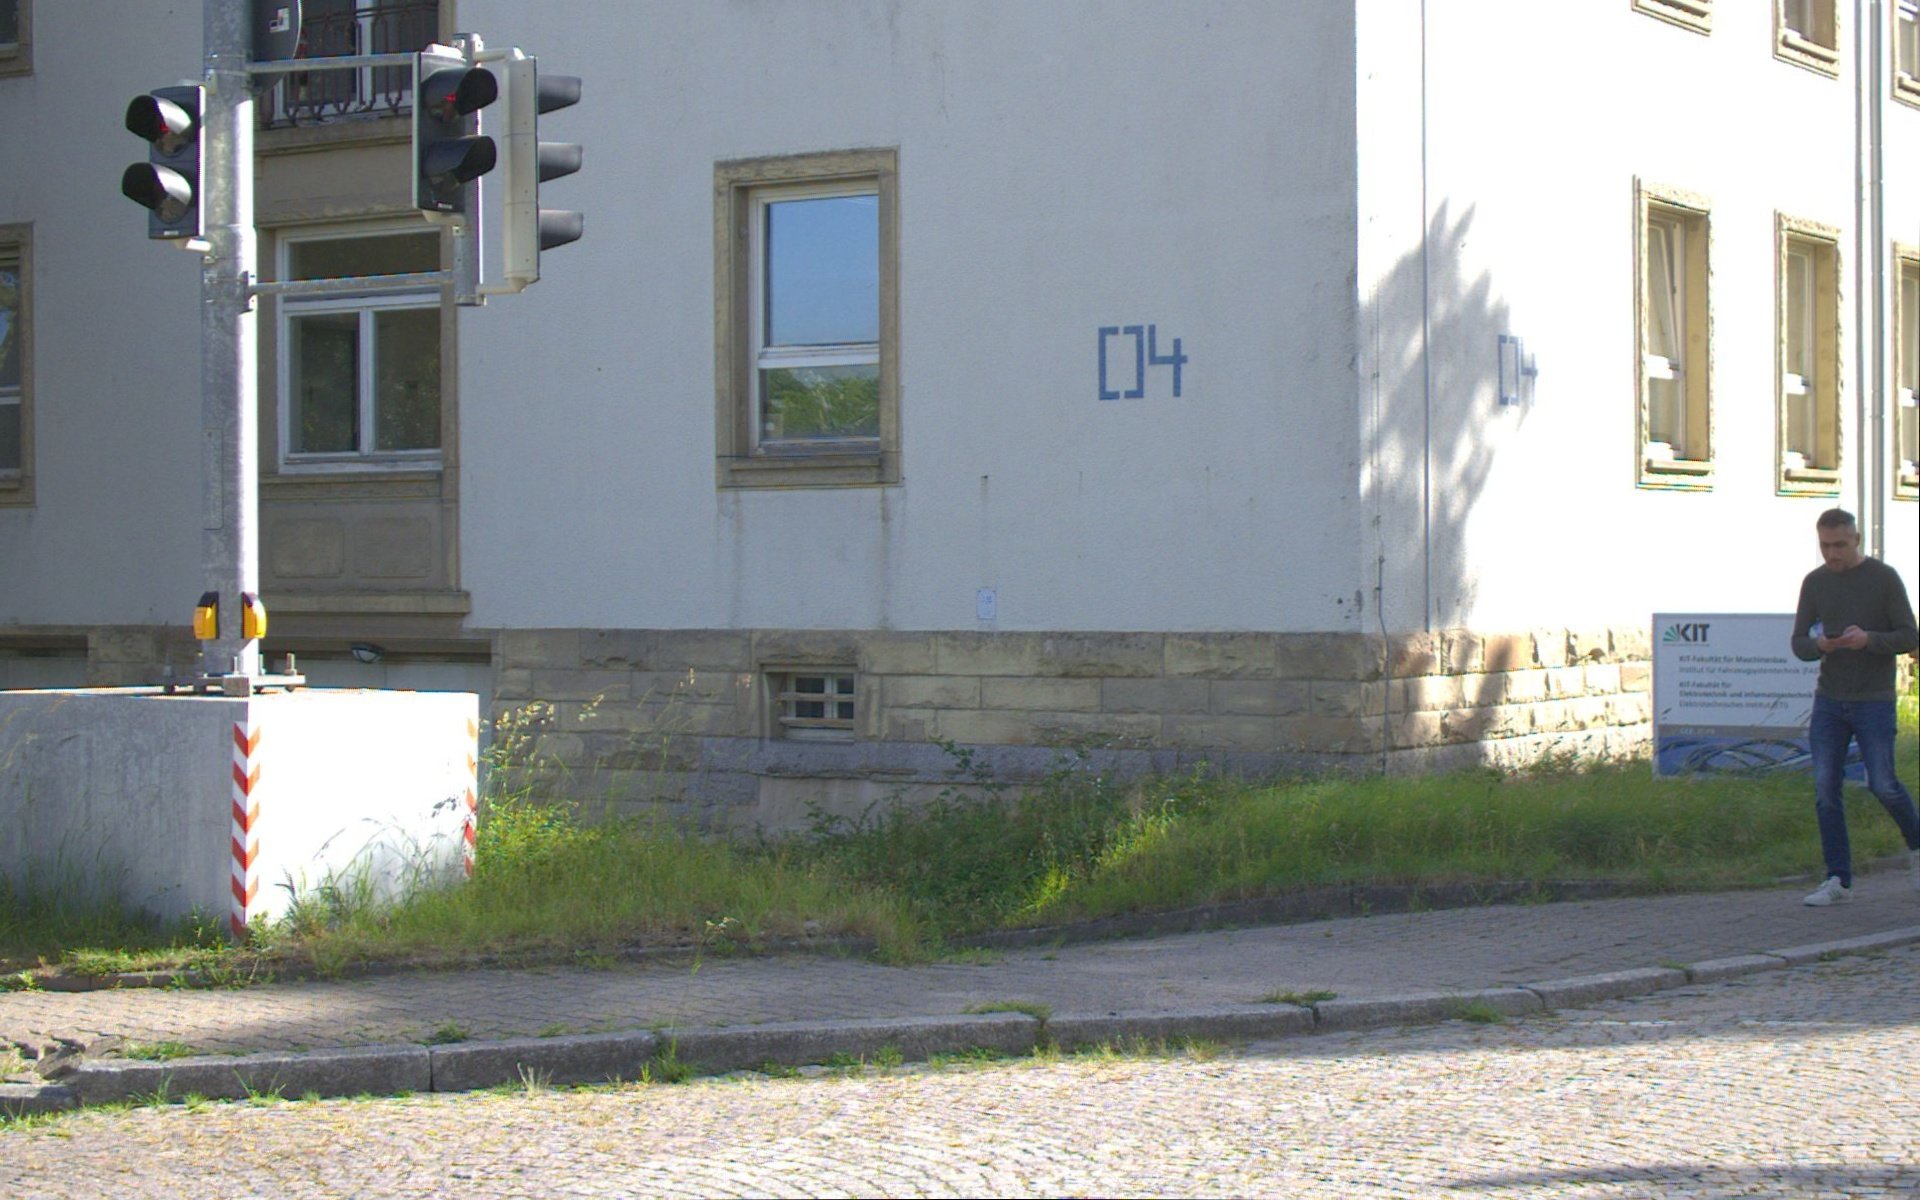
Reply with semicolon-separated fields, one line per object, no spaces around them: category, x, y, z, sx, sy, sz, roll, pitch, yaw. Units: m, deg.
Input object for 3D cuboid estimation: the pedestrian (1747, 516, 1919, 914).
pedestrian;4.200;0.519;16.154;0.814;1.811;0.553;0;1;44
